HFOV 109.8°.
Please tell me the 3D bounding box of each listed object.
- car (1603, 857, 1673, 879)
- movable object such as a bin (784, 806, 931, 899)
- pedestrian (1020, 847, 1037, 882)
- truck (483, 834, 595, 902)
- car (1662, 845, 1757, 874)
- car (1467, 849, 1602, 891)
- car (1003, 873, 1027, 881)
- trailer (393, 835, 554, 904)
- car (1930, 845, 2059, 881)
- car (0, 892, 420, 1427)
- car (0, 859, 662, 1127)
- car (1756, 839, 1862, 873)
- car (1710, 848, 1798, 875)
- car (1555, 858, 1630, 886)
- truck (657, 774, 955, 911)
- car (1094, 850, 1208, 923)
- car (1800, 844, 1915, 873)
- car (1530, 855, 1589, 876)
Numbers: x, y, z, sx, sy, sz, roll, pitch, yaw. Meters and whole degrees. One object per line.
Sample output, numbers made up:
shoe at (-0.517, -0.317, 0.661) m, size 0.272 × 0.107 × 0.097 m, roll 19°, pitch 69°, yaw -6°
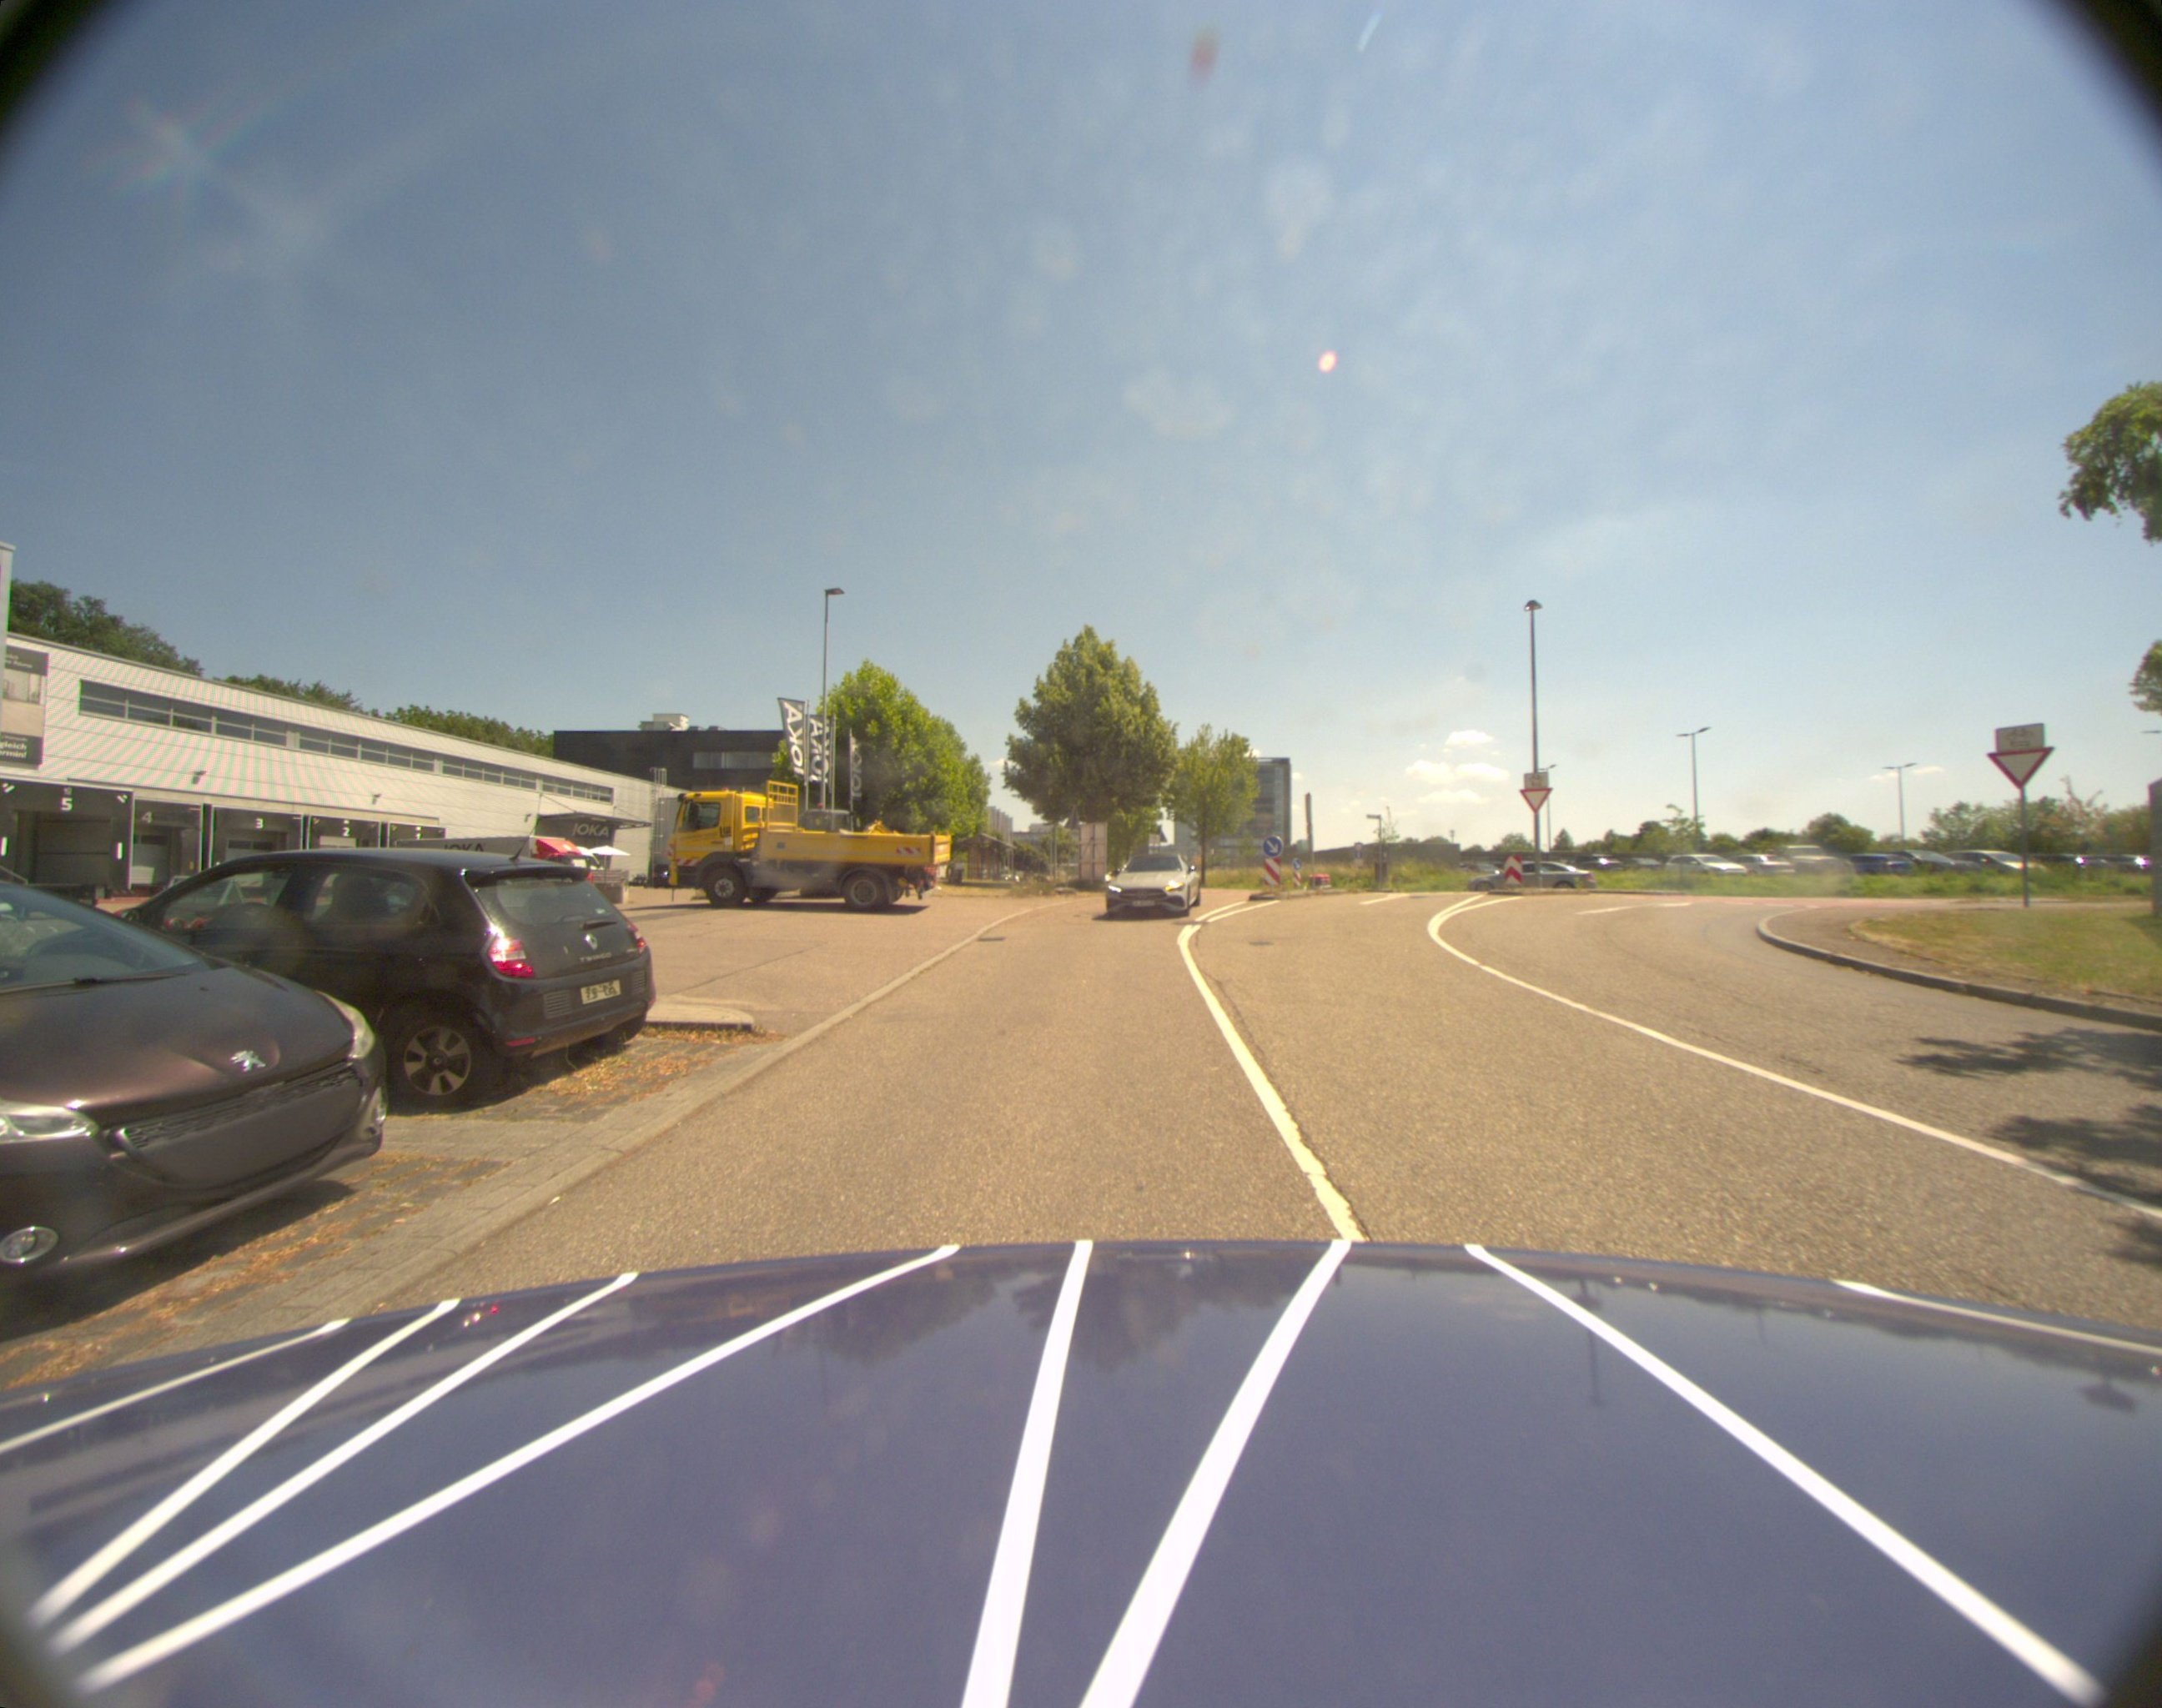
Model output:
car at (35.088, 0.880, 47.983) m, size 1.651 × 1.354 × 3.849 m, roll -1°, pitch -1°, yaw 1°
movable object such as a bin at (-6.889, -0.055, 24.454) m, size 1.997 × 2.566 × 6.581 m, roll -1°, pitch 0°, yaw 8°
pedestrian at (-2.576, 0.513, 37.198) m, size 0.578 × 1.659 × 0.532 m, roll -3°, pitch -4°, yaw 30°
truck at (-28.754, 0.798, 40.447) m, size 4.342 × 3.429 × 2.159 m, roll -1°, pitch -4°, yaw 1°
car at (31.021, 0.312, 37.665) m, size 1.573 × 1.289 × 3.880 m, roll -2°, pitch -2°, yaw 3°
car at (18.178, 0.703, 30.551) m, size 4.486 × 1.365 × 1.678 m, roll -4°, pitch -6°, yaw 33°
car at (-11.050, 3.823, 128.065) m, size 3.841 × 1.266 × 1.610 m, roll 0°, pitch -1°, yaw 1°
trailer at (-32.244, 0.871, 40.472) m, size 6.706 × 3.436 × 2.179 m, roll -1°, pitch -4°, yaw 0°
car at (44.120, 0.452, 36.833) m, size 1.616 × 1.614 × 3.850 m, roll 0°, pitch -1°, yaw 0°
car at (-5.036, 0.925, 2.817) m, size 3.780 × 1.498 × 1.591 m, roll 0°, pitch 0°, yaw 0°
car at (-5.207, 0.811, 5.287) m, size 3.668 × 1.454 × 1.627 m, roll 1°, pitch 0°, yaw 3°
car at (36.108, 0.154, 37.823) m, size 1.874 × 1.518 × 3.752 m, roll -2°, pitch -2°, yaw 7°
car at (33.488, 0.415, 37.904) m, size 1.500 × 1.174 × 3.272 m, roll -2°, pitch -2°, yaw 2°
car at (32.597, 1.188, 48.578) m, size 1.776 × 1.679 × 4.607 m, roll 1°, pitch -3°, yaw 1°
truck at (-6.529, -0.277, 18.816) m, size 6.420 × 3.118 × 2.595 m, roll 0°, pitch 1°, yaw -2°
car at (1.875, 0.711, 18.633) m, size 1.895 × 1.375 × 4.637 m, roll -3°, pitch 1°, yaw 16°
car at (38.447, 0.246, 37.766) m, size 1.584 × 1.249 × 3.948 m, roll -2°, pitch -2°, yaw -1°
car at (33.522, 0.837, 53.371) m, size 1.652 × 1.437 × 3.639 m, roll 0°, pitch -1°, yaw -5°
